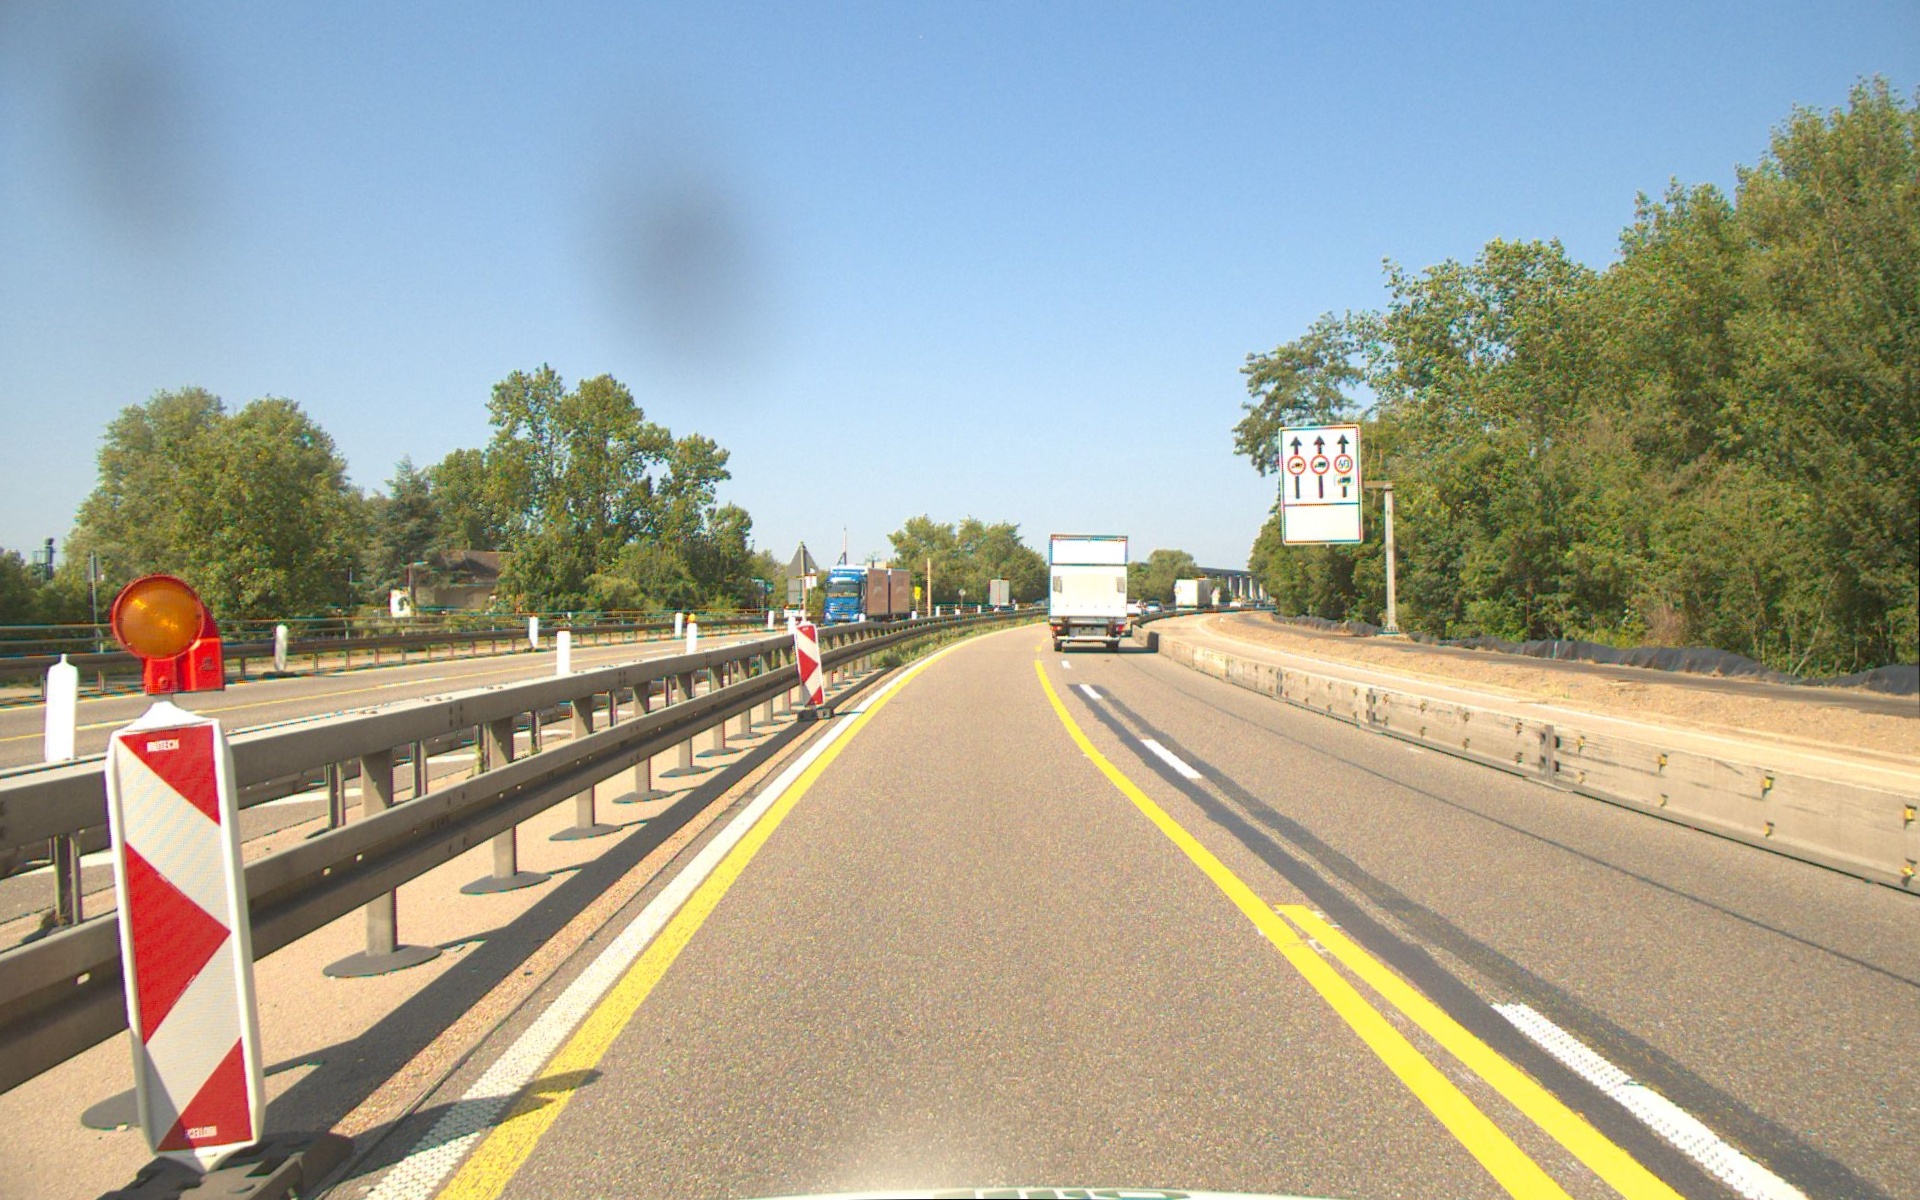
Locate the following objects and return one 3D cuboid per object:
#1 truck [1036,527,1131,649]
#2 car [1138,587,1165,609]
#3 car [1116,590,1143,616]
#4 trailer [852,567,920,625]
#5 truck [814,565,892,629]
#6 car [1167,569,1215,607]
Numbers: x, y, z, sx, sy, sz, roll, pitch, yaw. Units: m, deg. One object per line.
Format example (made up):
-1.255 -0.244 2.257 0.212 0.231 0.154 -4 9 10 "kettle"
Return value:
3.733 -0.354 51.521 2.580 3.487 7.234 1 0 2 "truck"
18.903 -0.244 163.087 1.951 2.049 4.003 -2 0 15 "car"
14.348 0.218 139.944 1.951 2.049 4.004 -2 0 9 "car"
-5.486 -0.346 124.505 2.973 4.163 9.797 0 0 10 "trailer"
-7.258 -0.213 114.408 2.973 4.163 10.633 0 0 10 "truck"
27.923 -1.513 199.451 4.118 4.326 10.669 -2 0 16 "car"
